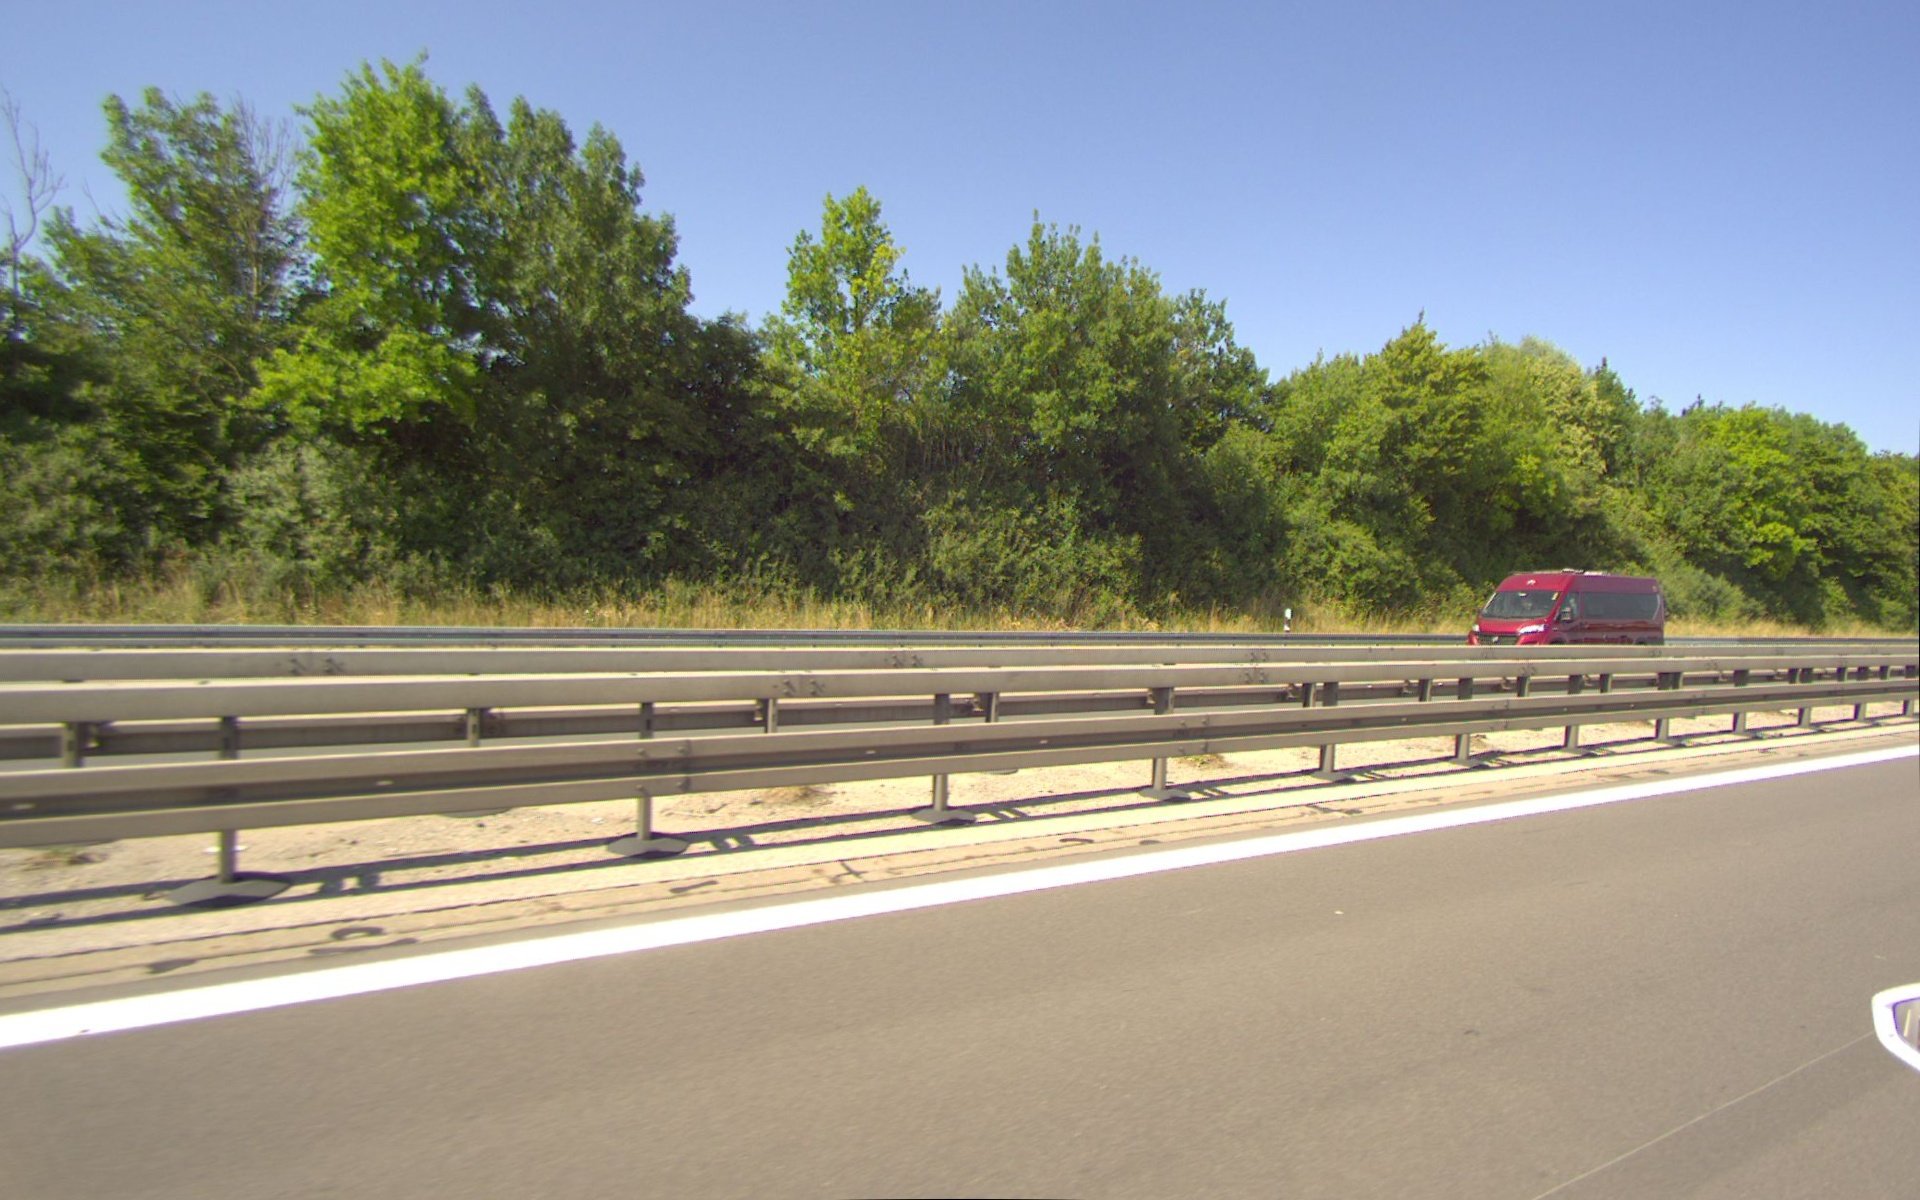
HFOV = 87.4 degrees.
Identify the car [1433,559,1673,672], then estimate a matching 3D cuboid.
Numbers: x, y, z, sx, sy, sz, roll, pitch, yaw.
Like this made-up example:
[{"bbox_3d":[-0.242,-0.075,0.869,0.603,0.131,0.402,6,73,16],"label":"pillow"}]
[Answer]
[{"bbox_3d":[15.514,0.385,26.161,6.517,2.630,2.531,1,1,-31],"label":"car"}]
